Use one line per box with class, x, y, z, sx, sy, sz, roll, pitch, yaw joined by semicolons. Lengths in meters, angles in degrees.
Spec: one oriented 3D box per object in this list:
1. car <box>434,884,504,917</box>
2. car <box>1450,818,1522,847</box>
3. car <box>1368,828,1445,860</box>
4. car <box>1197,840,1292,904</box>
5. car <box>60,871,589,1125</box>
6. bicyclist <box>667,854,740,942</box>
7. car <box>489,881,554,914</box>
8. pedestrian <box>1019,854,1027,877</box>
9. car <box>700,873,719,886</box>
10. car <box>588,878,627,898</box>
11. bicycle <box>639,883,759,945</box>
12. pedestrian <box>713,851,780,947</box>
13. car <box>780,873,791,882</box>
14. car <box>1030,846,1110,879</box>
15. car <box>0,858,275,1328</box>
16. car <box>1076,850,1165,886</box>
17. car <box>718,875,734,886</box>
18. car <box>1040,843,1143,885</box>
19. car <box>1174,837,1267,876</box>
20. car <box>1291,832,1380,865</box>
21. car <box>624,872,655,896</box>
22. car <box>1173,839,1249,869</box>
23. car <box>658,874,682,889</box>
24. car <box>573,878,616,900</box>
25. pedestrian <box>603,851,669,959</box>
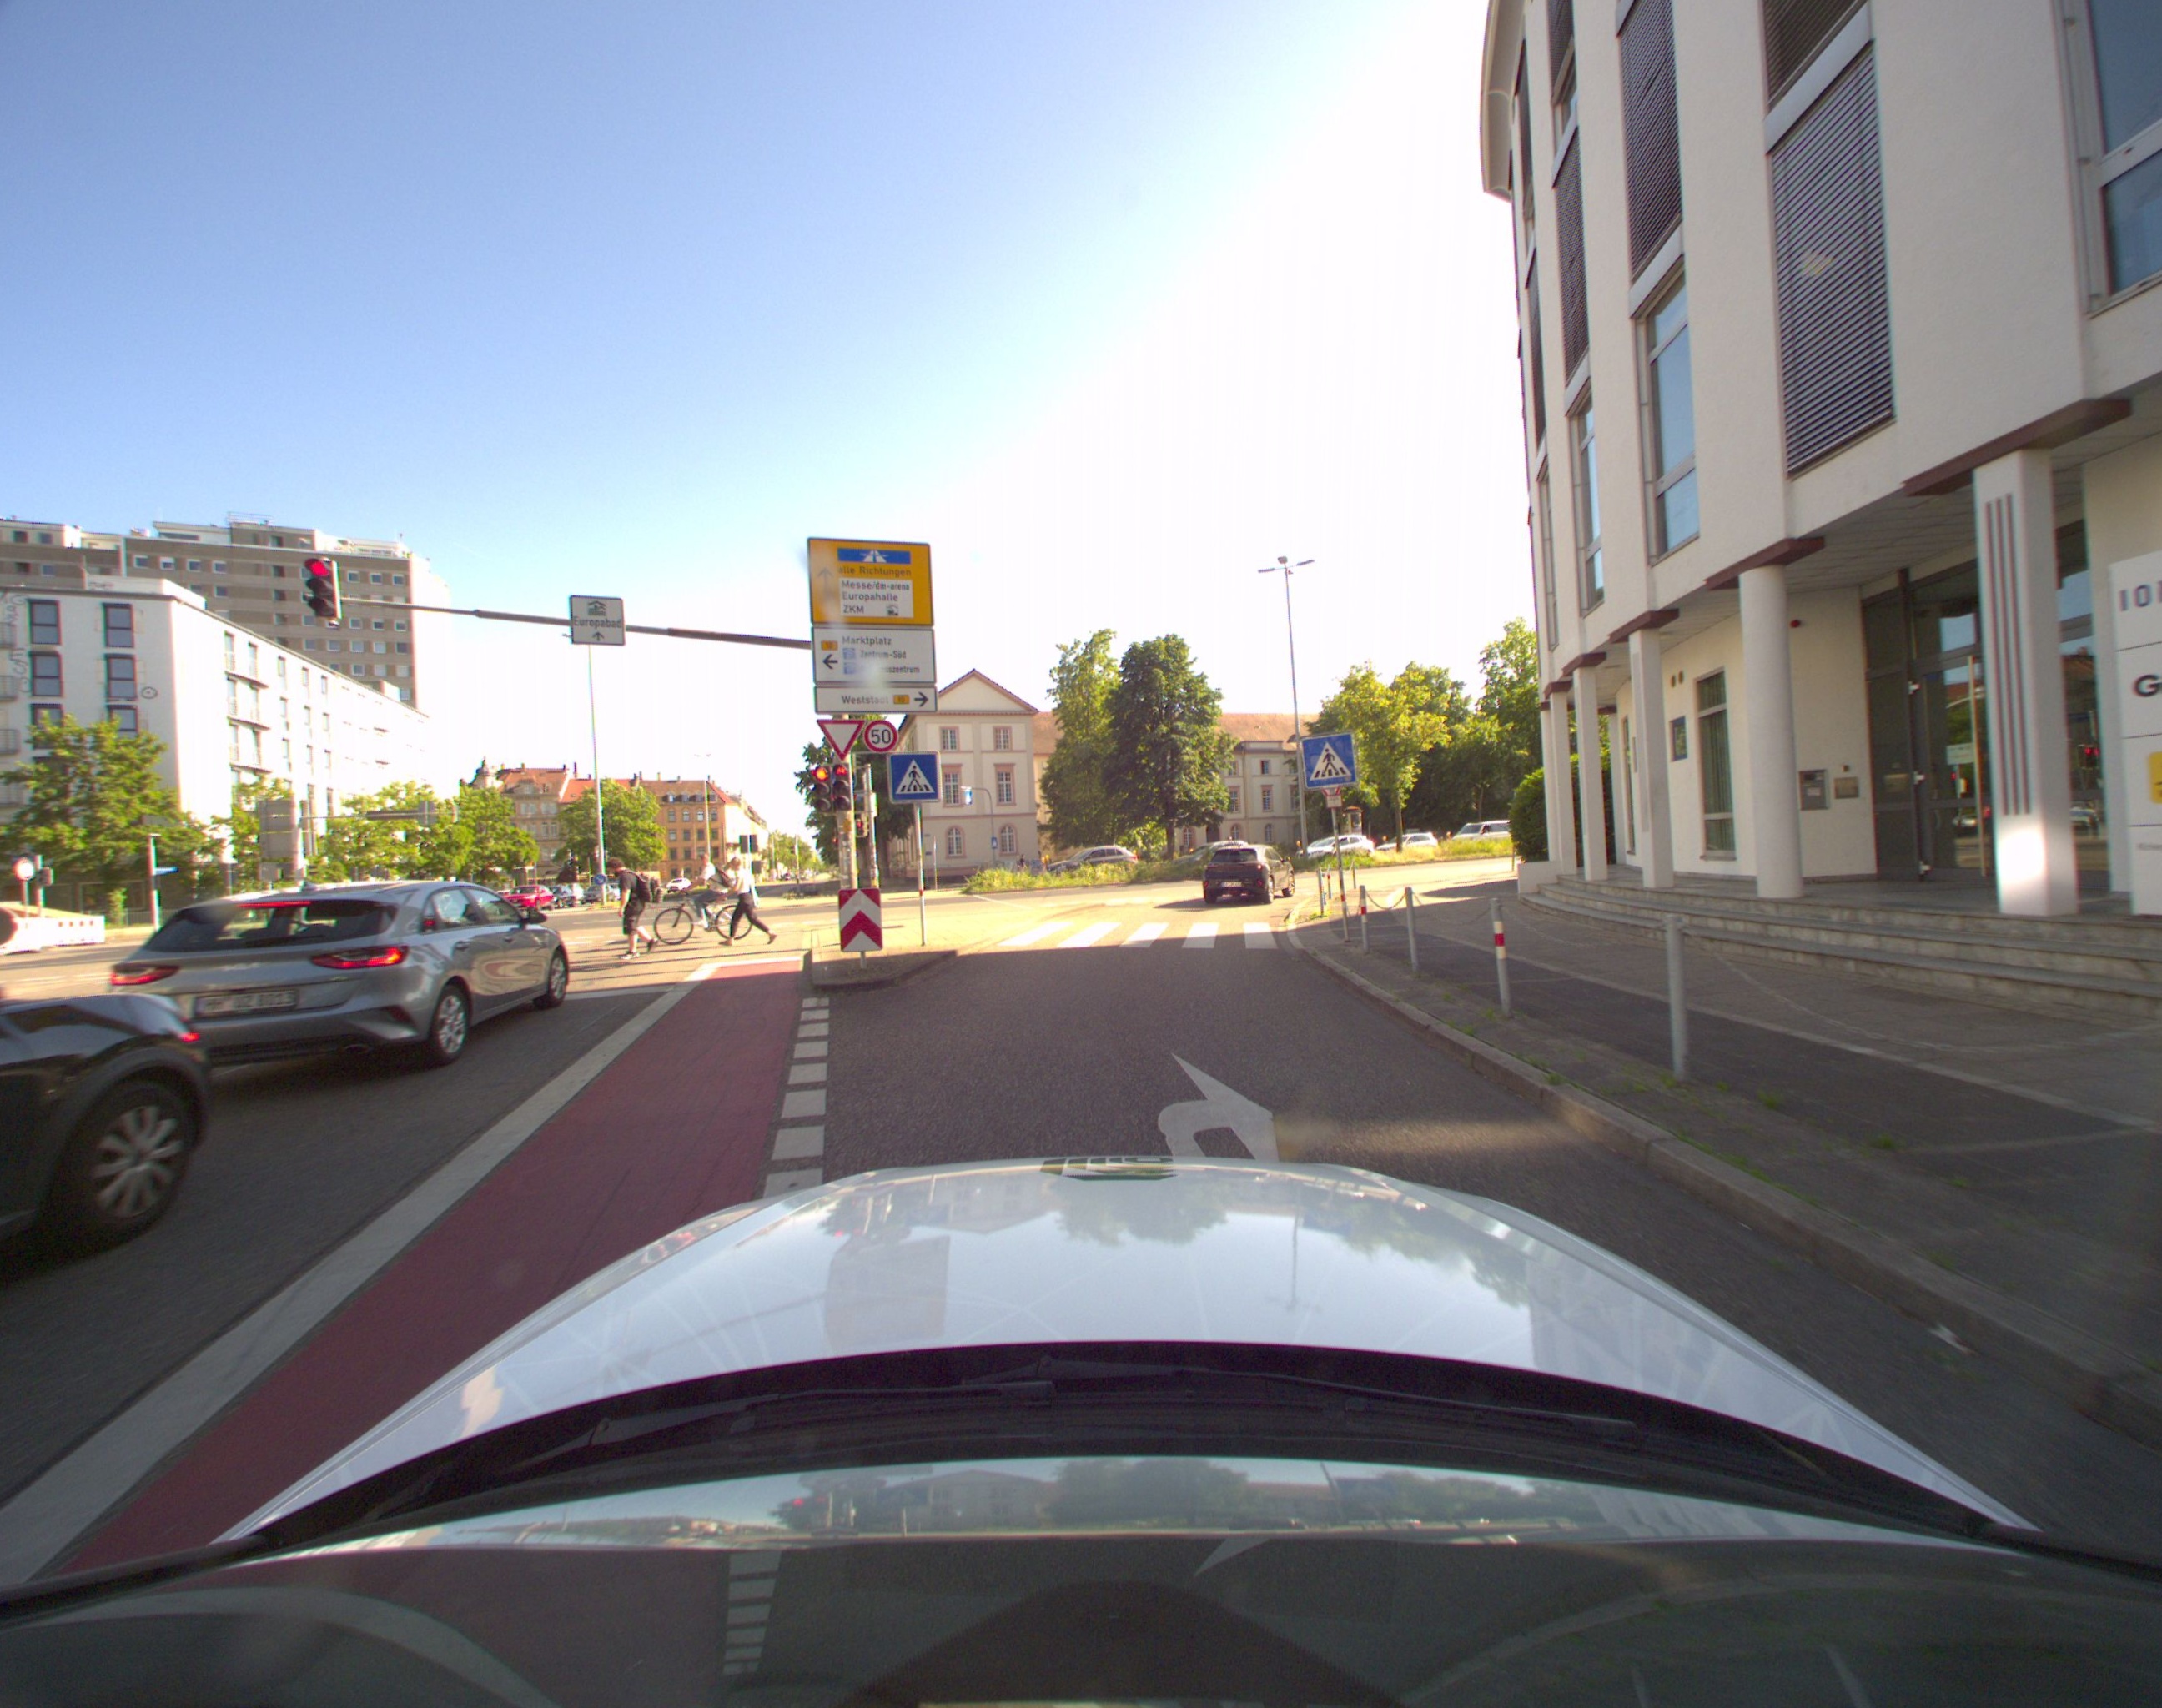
car;-34.767;2.595;46.364;1.879;1.617;3.976;-3;0;-17
car;25.825;-1.360;51.946;4.005;1.644;1.908;-3;0;-23
car;19.456;-0.583;48.709;4.003;1.644;1.909;-3;0;-22
car;4.555;0.440;22.324;1.729;1.573;3.579;-2;1;25
car;-6.045;0.947;7.269;1.835;1.452;3.964;-3;0;-17
bicyclist;-7.339;0.832;15.883;1.169;1.633;0.724;-2;0;-20
car;-31.220;2.392;45.551;1.795;1.617;3.977;-3;0;-17
pedestrian;-4.128;0.793;57.987;0.441;1.615;0.465;0;-1;-11
car;-51.919;3.598;113.848;1.815;1.634;3.976;-3;0;-17
car;-38.417;2.744;66.170;1.879;1.448;3.976;-3;0;-17
bicycle;-7.459;1.145;15.999;2.038;1.061;0.617;-2;0;-20
pedestrian;-6.184;0.800;15.076;1.045;1.659;0.778;-3;0;-23
car;-52.720;4.245;145.152;1.817;1.448;3.972;-3;0;-20
car;-0.620;0.477;46.005;4.134;1.601;1.808;-3;0;-24
car;-4.387;0.843;1.958;1.835;1.578;3.817;-3;0;-17
car;2.042;0.716;41.887;4.134;1.601;1.808;-3;0;-24
car;-55.640;4.173;127.747;1.815;1.634;3.976;-3;0;-17
car;0.452;0.436;36.089;4.134;1.601;1.808;-3;0;-24
car;6.765;0.096;39.629;4.003;1.644;1.909;-3;0;-22
car;13.200;-0.289;42.177;4.194;1.508;1.808;-3;0;-24
car;-42.634;2.832;78.715;1.815;2.134;3.976;-3;0;-17
car;7.786;0.008;48.811;4.134;1.601;1.808;-3;0;-24
car;-48.178;3.211;95.577;1.815;1.634;3.976;-3;0;-17
car;-36.597;2.582;61.350;1.879;1.448;3.976;-3;0;-17
pedestrian;-7.409;0.824;13.600;0.829;1.702;0.911;-2;0;-23
